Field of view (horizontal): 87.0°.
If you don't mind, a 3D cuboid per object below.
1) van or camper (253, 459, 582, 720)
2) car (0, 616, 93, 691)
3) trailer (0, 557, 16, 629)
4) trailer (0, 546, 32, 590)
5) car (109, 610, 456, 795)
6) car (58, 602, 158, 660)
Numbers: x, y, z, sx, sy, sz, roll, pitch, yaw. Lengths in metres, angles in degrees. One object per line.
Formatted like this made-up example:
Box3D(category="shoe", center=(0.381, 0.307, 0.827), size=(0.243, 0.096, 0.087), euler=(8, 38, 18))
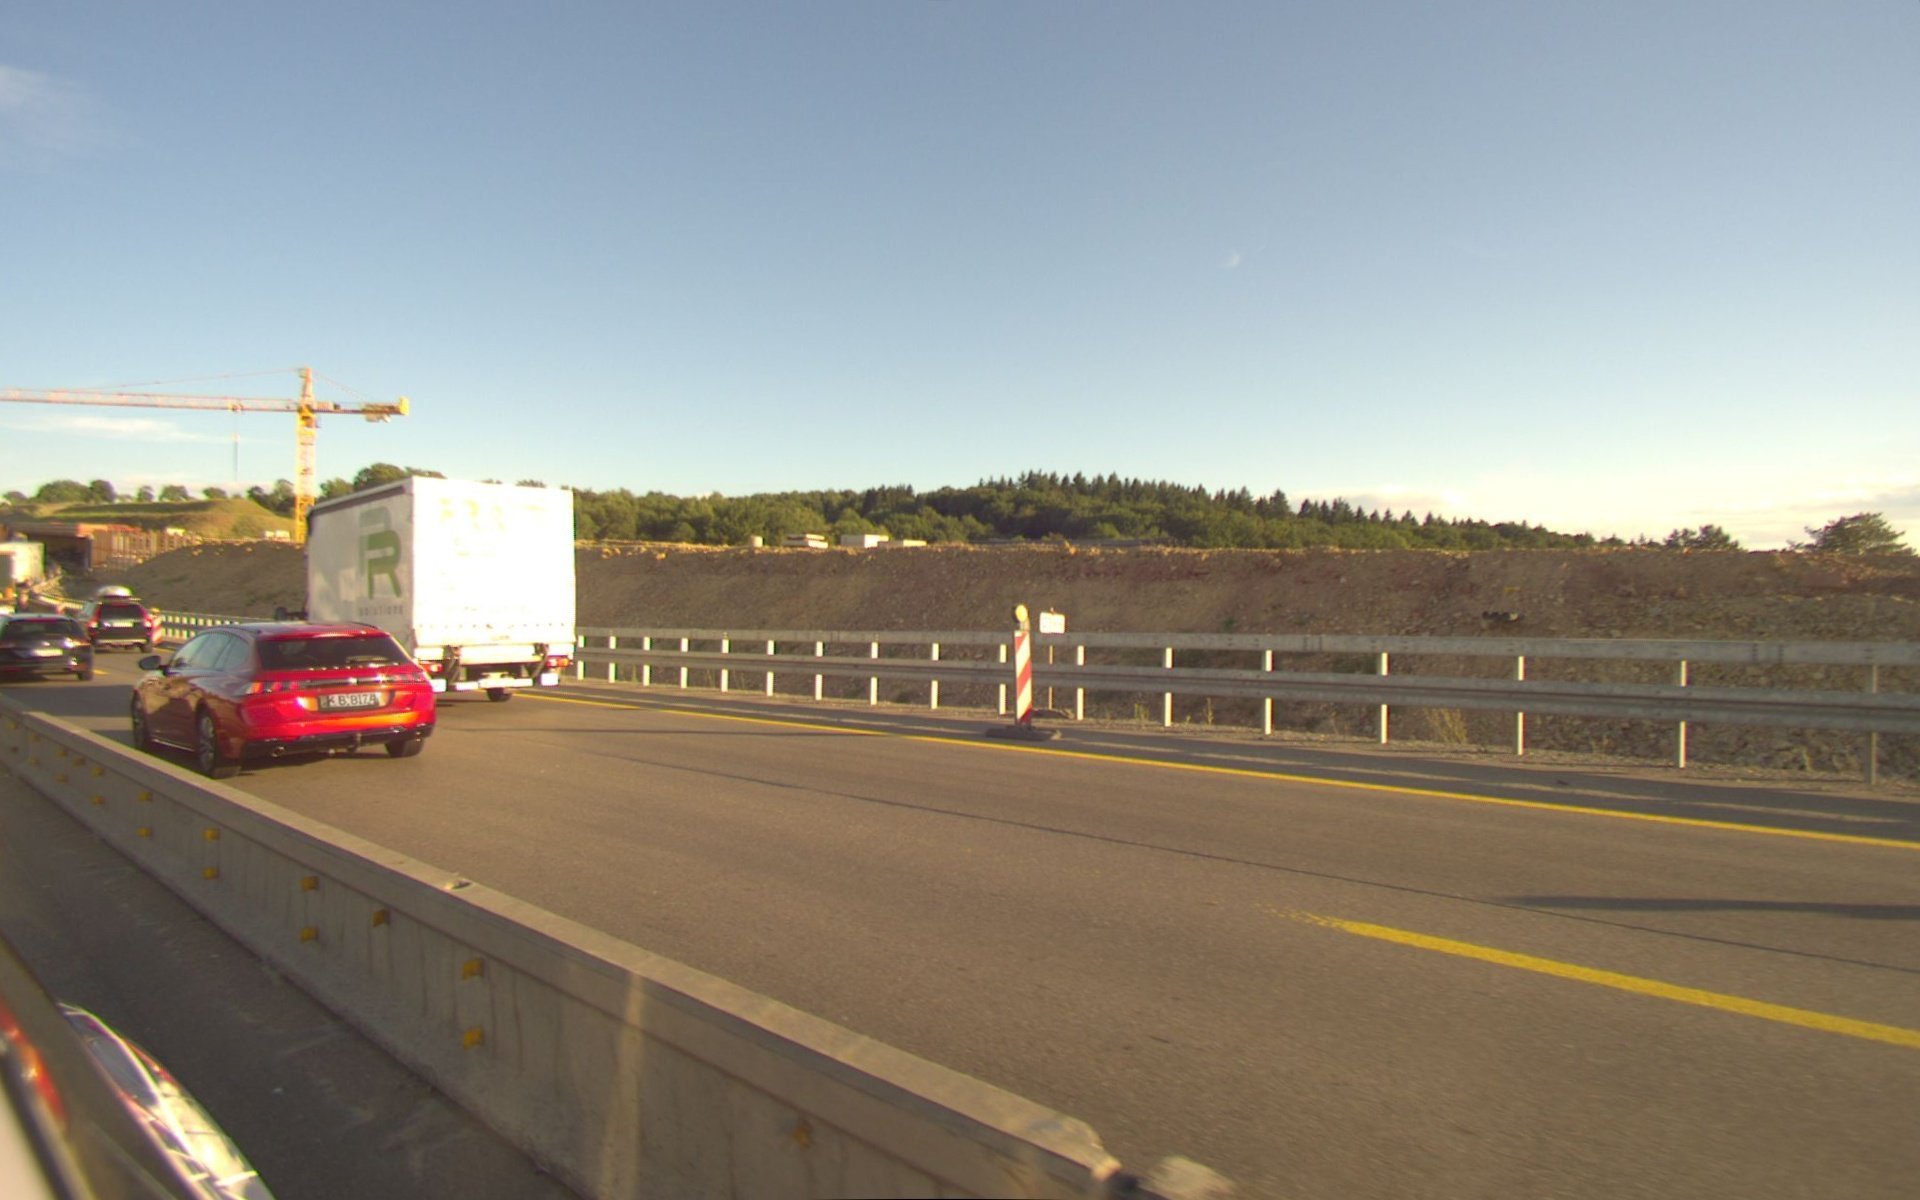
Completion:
Box3D(category="van or camper", center=(-9.392, -0.105, 17.047), size=(7.409, 3.525, 2.432), euler=(-1, 0, 41))
Box3D(category="car", center=(-20.538, 1.105, 22.071), size=(4.703, 1.474, 1.797), euler=(-1, 0, 41))
Box3D(category="trailer", center=(-59.513, -0.424, 60.997), size=(13.681, 4.062, 2.744), euler=(0, 0, 42))
Box3D(category="trailer", center=(-96.904, -3.329, 103.514), size=(2.501, 4.244, 13.946), euler=(-1, 3, -44))
Box3D(category="car", center=(-7.115, 0.856, 10.402), size=(4.703, 1.474, 1.797), euler=(-1, 0, 41))
Box3D(category="car", center=(-29.000, 0.991, 34.398), size=(4.439, 1.778, 1.973), euler=(0, 1, 42))
